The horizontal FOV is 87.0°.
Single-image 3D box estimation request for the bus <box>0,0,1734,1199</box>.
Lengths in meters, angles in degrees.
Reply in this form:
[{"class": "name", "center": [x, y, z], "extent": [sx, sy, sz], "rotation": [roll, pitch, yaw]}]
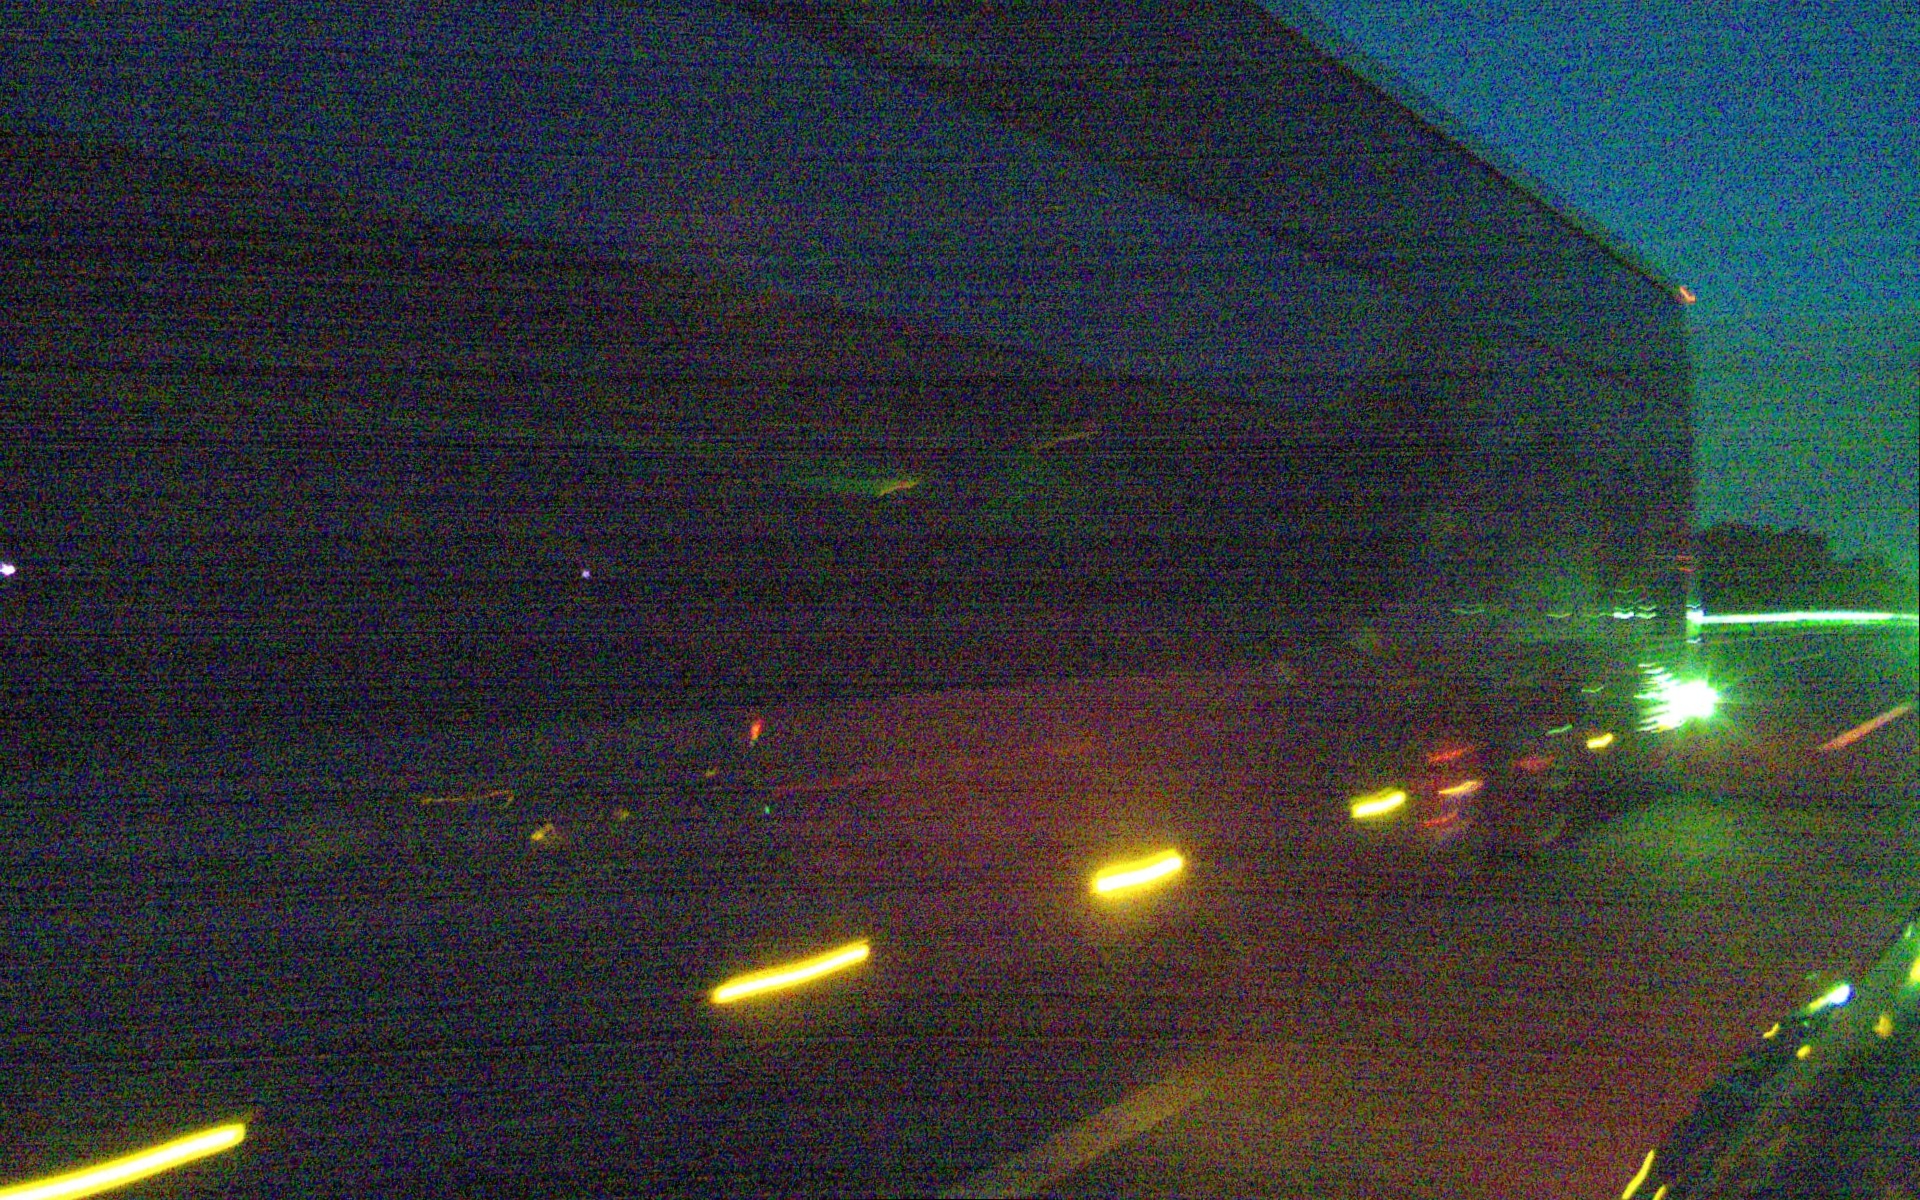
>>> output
[{"class": "bus", "center": [-0.324, -0.716, 4.092], "extent": [14.446, 4.045, 2.656], "rotation": [-1, -1, -41]}]
